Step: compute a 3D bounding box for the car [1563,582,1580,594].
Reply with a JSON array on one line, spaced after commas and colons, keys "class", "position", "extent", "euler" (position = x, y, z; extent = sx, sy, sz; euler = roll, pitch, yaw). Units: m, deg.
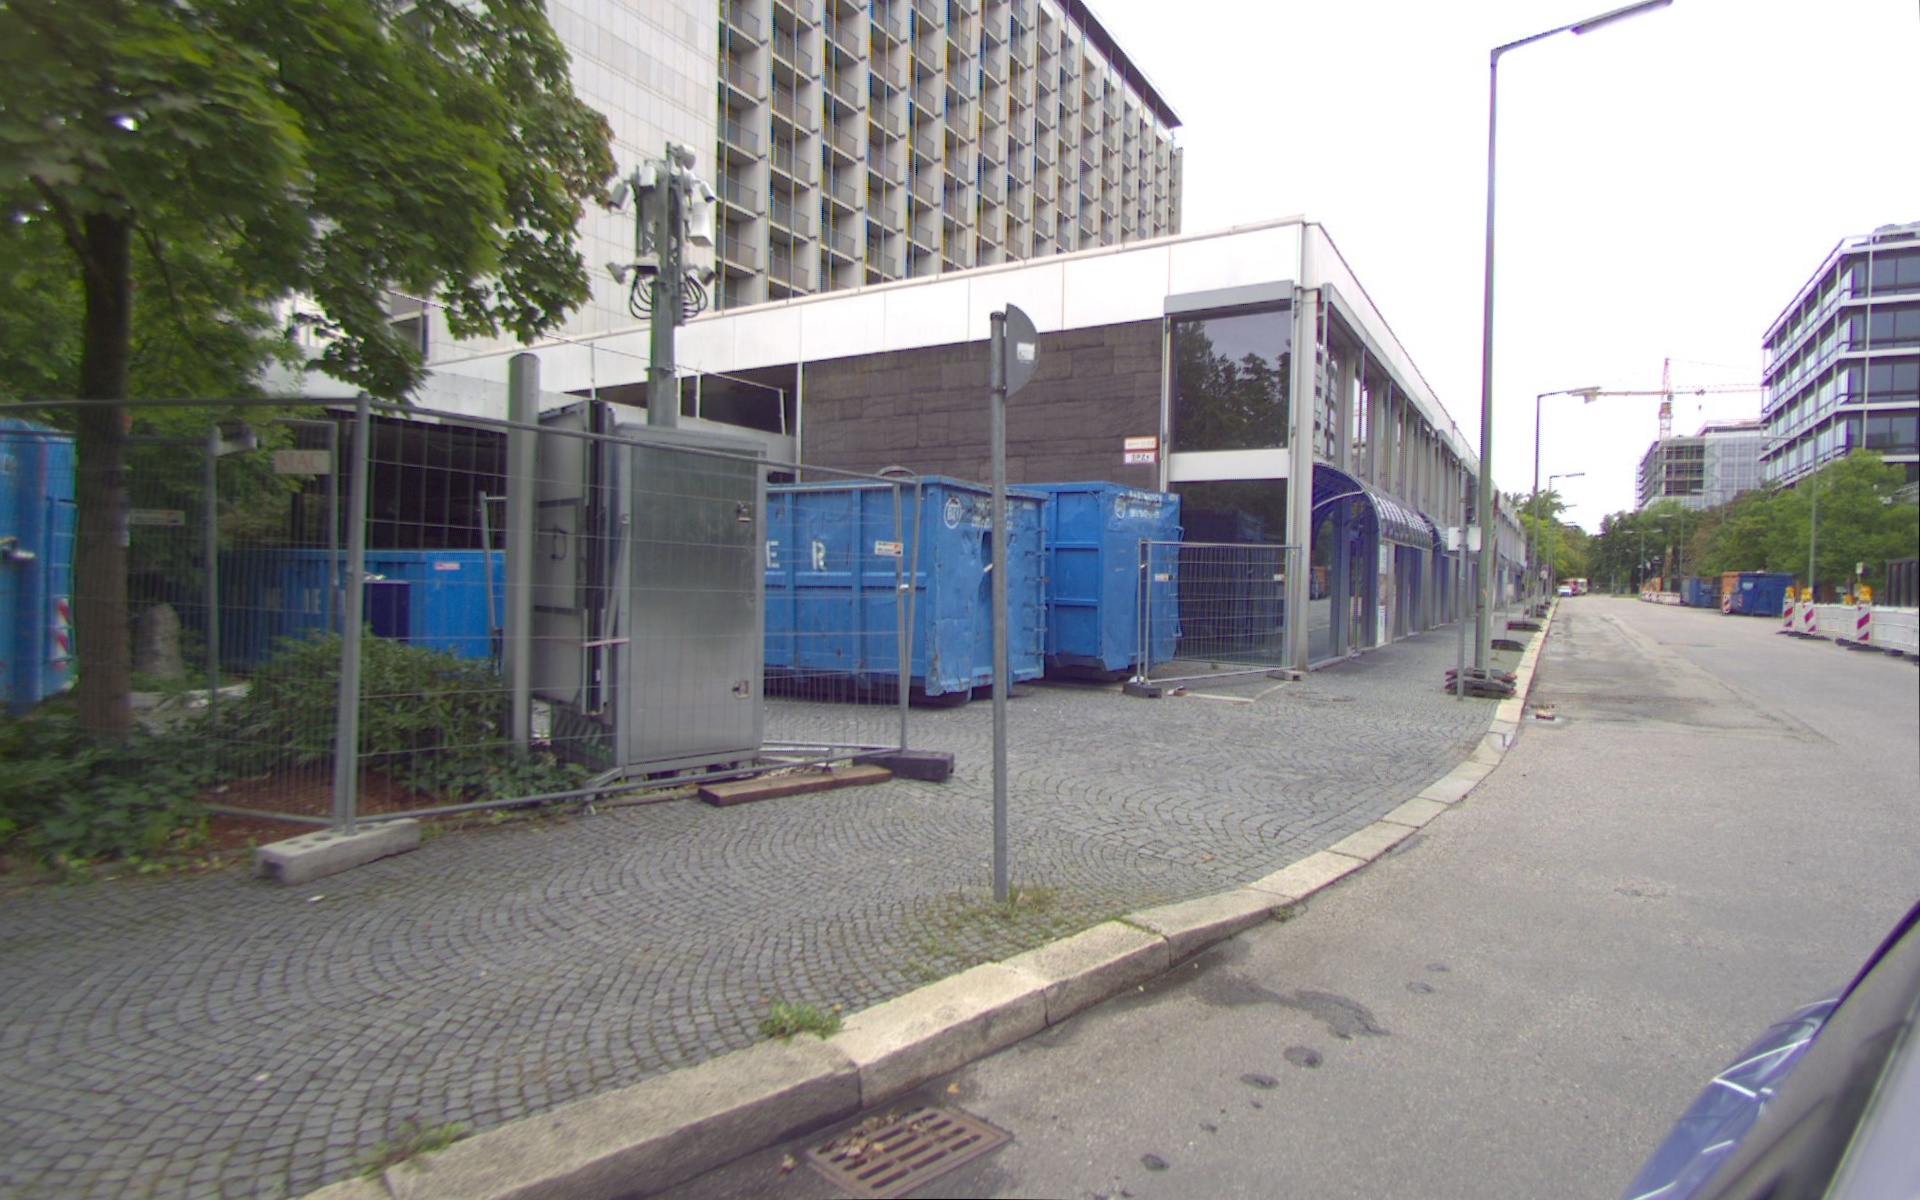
[{"class": "car", "position": [86.270, -1.723, 142.694], "extent": [1.900, 1.657, 3.953], "euler": [2, 2, 33]}]

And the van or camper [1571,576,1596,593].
[{"class": "van or camper", "position": [98.115, -2.452, 159.268], "extent": [2.655, 2.481, 6.358], "euler": [2, 2, 37]}]

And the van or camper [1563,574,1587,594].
[{"class": "van or camper", "position": [89.811, -2.386, 147.795], "extent": [2.652, 2.801, 6.829], "euler": [2, 2, 34]}]

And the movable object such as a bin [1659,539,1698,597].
[{"class": "movable object such as a bin", "position": [81.654, -3.596, 115.173], "extent": [3.222, 6.400, 8.236], "euler": [2, 1, 34]}]
